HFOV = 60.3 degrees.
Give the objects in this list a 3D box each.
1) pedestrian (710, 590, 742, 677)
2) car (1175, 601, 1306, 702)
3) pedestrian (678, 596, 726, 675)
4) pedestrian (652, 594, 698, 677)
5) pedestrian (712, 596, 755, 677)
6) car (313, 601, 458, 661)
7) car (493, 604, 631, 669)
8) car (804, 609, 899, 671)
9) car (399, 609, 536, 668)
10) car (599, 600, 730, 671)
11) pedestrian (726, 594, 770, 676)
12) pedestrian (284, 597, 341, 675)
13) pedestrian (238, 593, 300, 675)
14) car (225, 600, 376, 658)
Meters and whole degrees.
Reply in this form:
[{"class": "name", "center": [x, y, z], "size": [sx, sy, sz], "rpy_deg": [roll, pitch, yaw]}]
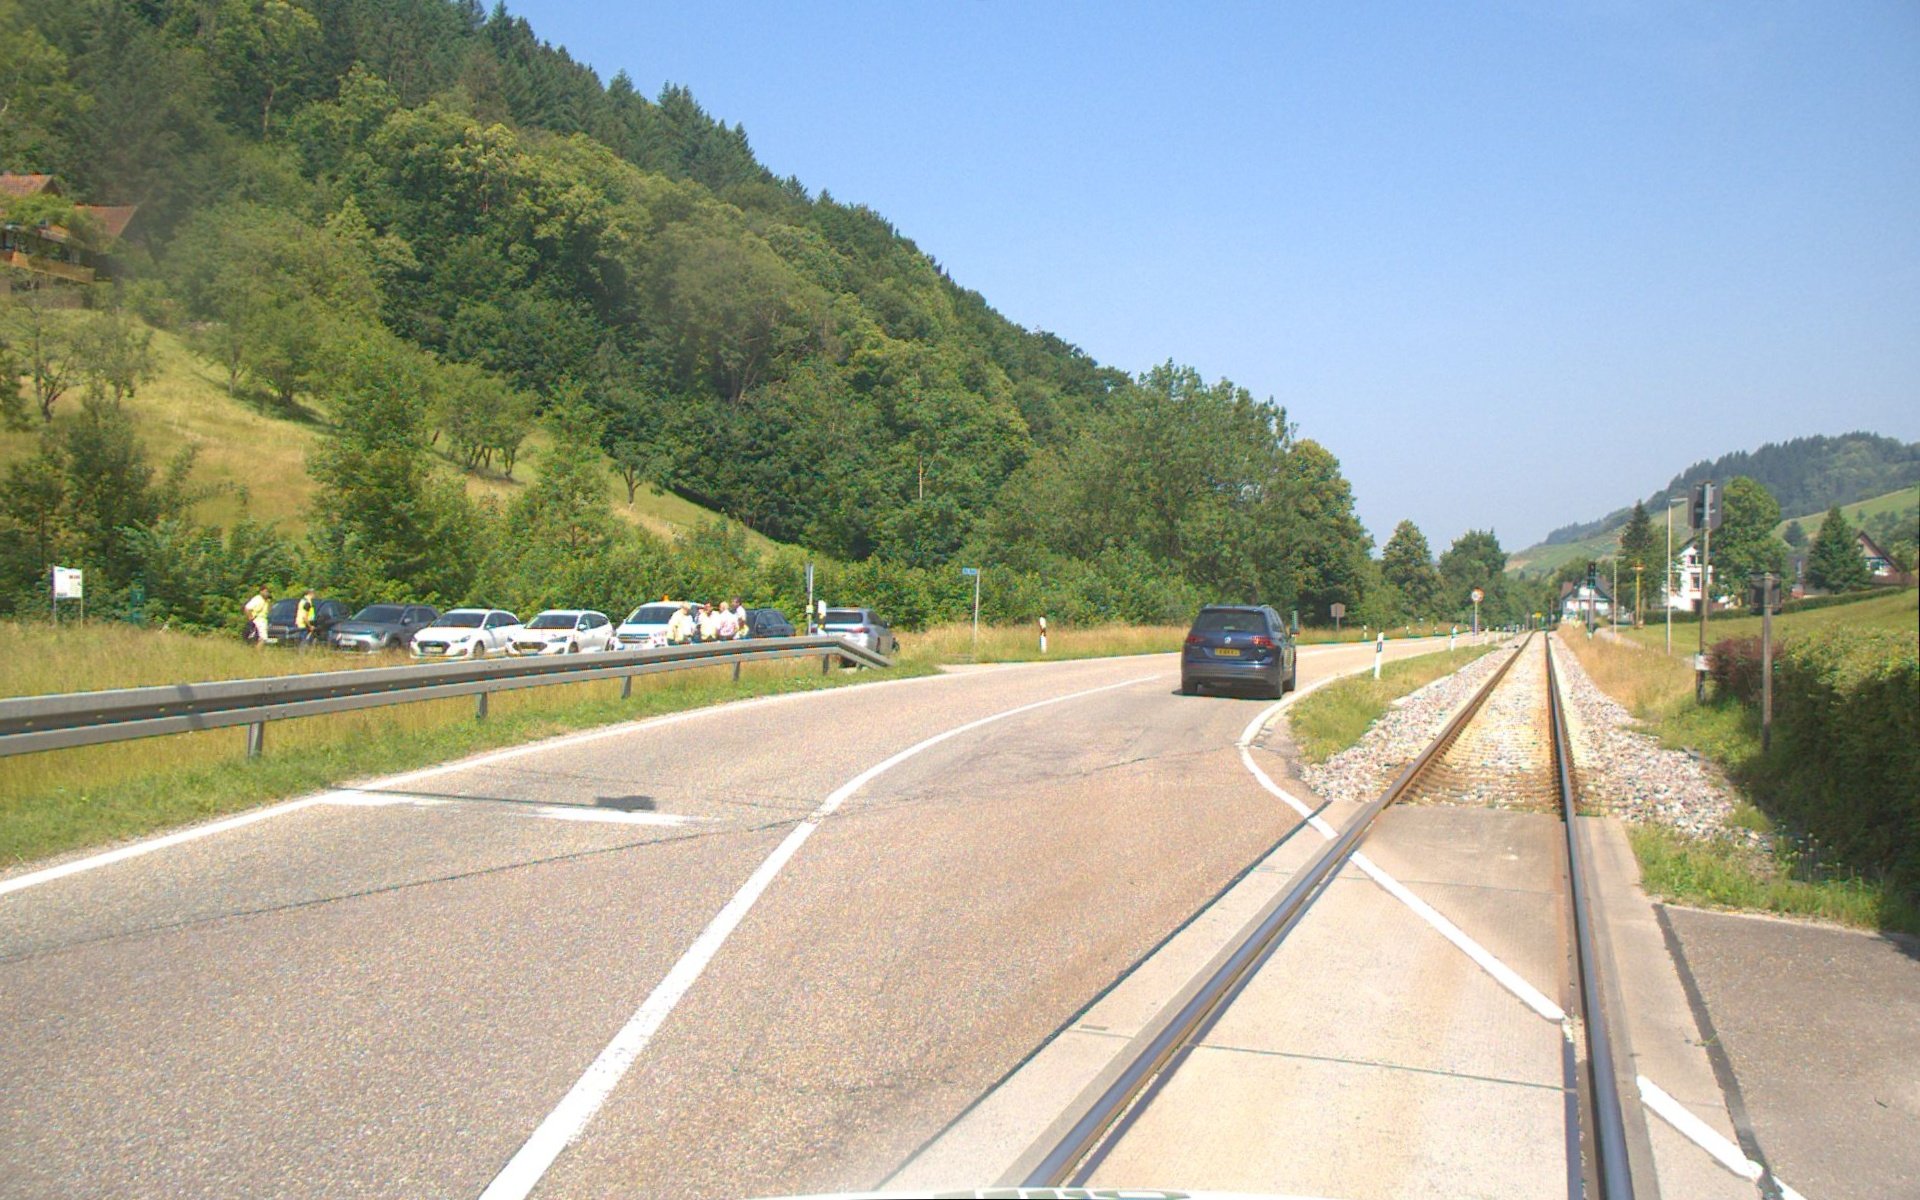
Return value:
[{"class": "pedestrian", "center": [-5.380, 0.764, 38.010], "size": [0.647, 1.989, 0.533], "rpy_deg": [-1, -1, -1]}, {"class": "car", "center": [5.287, 0.898, 30.768], "size": [1.814, 1.678, 4.142], "rpy_deg": [2, 0, 17]}, {"class": "pedestrian", "center": [-6.009, 0.826, 38.516], "size": [0.755, 1.827, 0.791], "rpy_deg": [-1, -1, 36]}, {"class": "pedestrian", "center": [-6.483, 0.797, 37.688], "size": [0.771, 1.875, 0.698], "rpy_deg": [-1, -1, 20]}, {"class": "pedestrian", "center": [-5.360, 0.858, 39.090], "size": [0.637, 1.873, 0.766], "rpy_deg": [-1, -1, 42]}, {"class": "car", "center": [-15.878, 0.837, 45.951], "size": [1.951, 1.527, 4.525], "rpy_deg": [2, 0, 7]}, {"class": "car", "center": [-10.826, 0.971, 45.377], "size": [1.951, 1.670, 4.906], "rpy_deg": [0, -1, 9]}, {"class": "car", "center": [-2.775, 1.011, 43.141], "size": [1.787, 1.527, 4.280], "rpy_deg": [0, -1, 6]}, {"class": "car", "center": [-13.460, 1.027, 45.482], "size": [1.951, 1.527, 4.525], "rpy_deg": [0, -1, 7]}, {"class": "car", "center": [-8.024, 0.943, 45.404], "size": [1.831, 1.813, 4.776], "rpy_deg": [1, 0, 12]}, {"class": "pedestrian", "center": [-4.940, 0.819, 38.529], "size": [0.638, 1.891, 0.766], "rpy_deg": [-1, -1, 43]}, {"class": "pedestrian", "center": [-15.498, 0.853, 39.597], "size": [0.934, 1.826, 1.000], "rpy_deg": [-1, -1, 3]}, {"class": "pedestrian", "center": [-17.057, 0.838, 40.827], "size": [1.102, 2.004, 0.862], "rpy_deg": [-1, -1, 19]}, {"class": "car", "center": [-18.315, 0.789, 46.168], "size": [1.951, 1.527, 4.525], "rpy_deg": [0, -1, 7]}]
